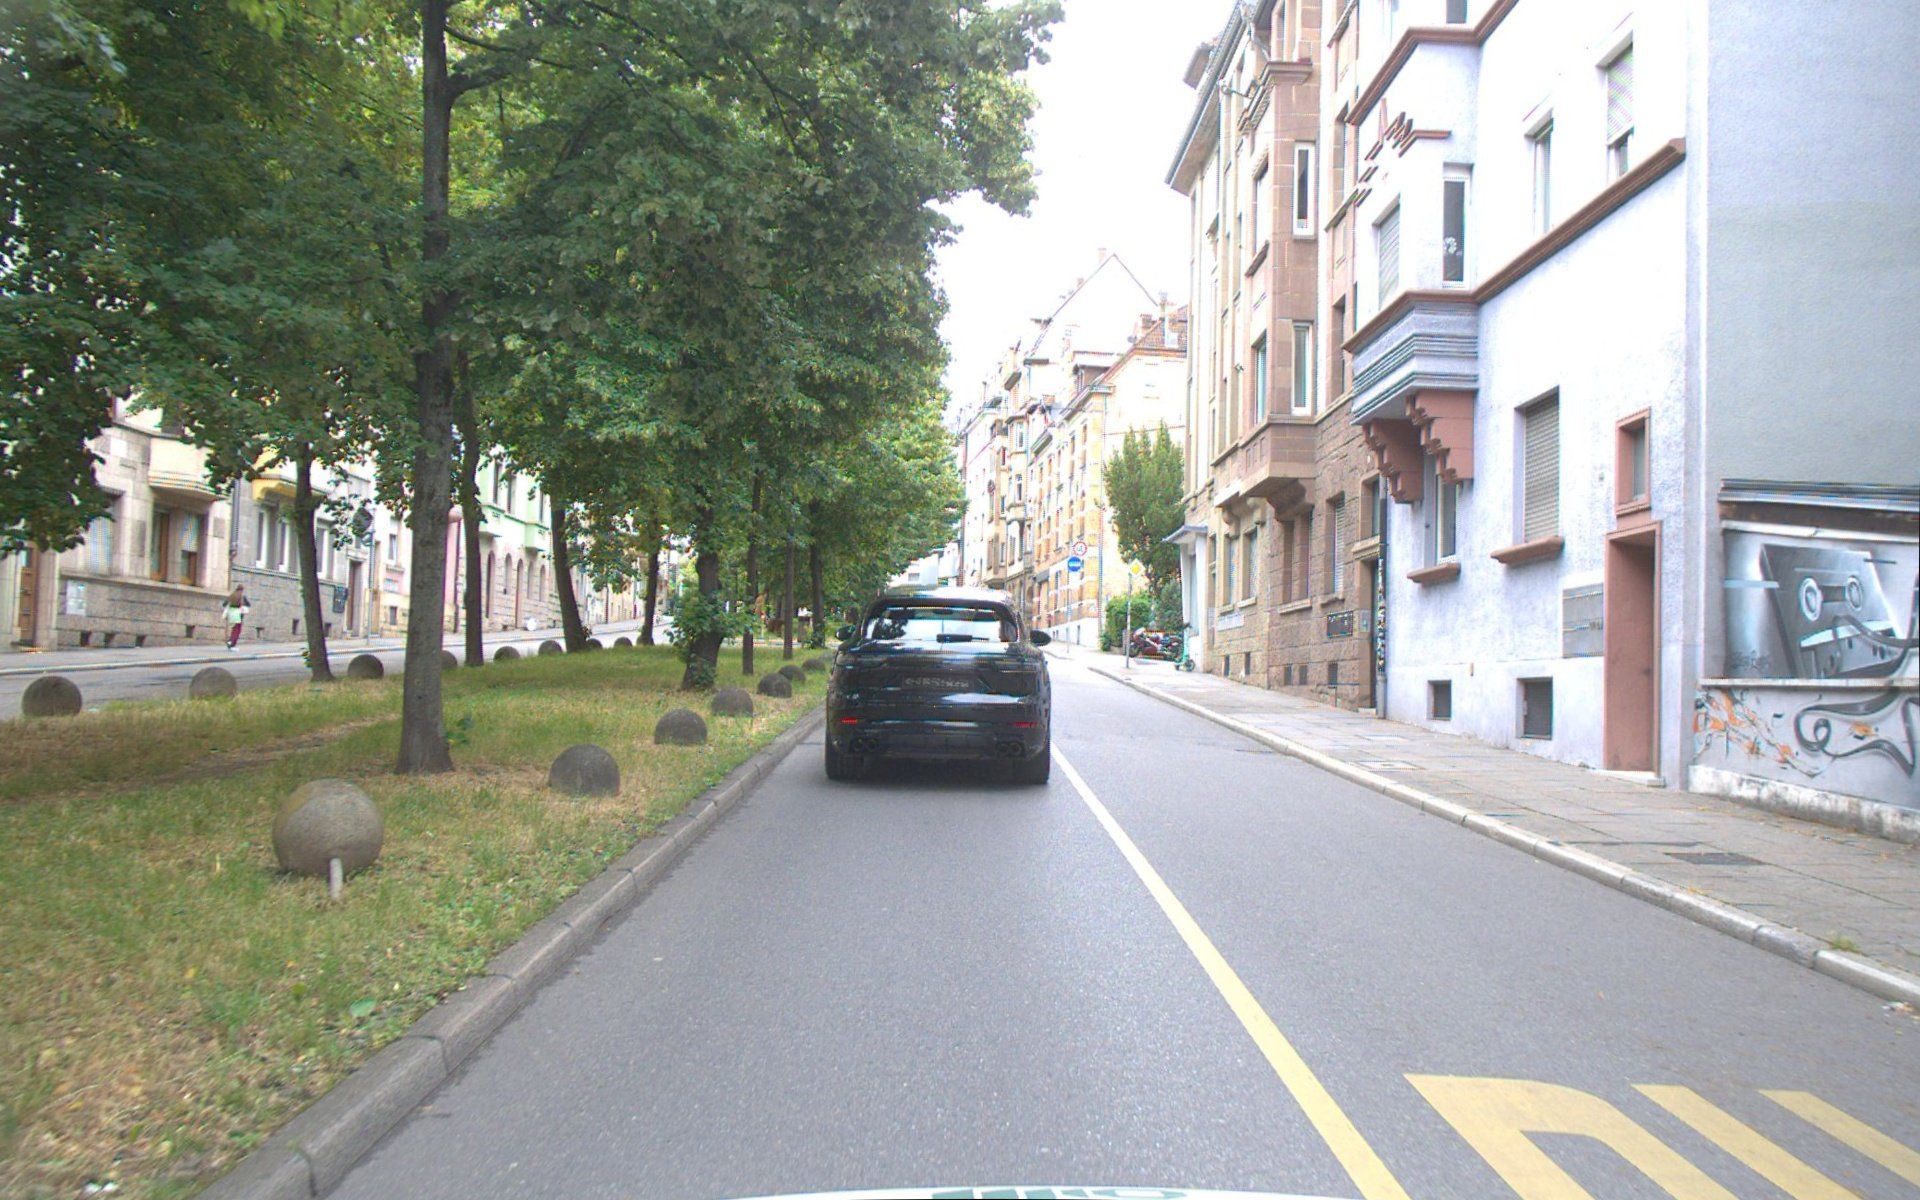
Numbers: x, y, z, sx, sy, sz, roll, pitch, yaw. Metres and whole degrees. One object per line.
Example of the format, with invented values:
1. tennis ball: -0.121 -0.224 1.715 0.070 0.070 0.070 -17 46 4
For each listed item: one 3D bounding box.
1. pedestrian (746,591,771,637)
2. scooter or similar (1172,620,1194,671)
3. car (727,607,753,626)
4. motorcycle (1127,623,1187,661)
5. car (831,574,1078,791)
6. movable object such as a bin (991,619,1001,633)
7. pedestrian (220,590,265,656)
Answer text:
1. pedestrian: -7.948 0.577 65.165 0.816 1.742 1.122 -2 -3 -1
2. scooter or similar: 5.794 1.173 42.977 0.401 1.231 1.145 -1 2 -1
3. car: -17.161 1.258 128.898 1.674 1.406 4.665 0 0 -3
4. motorcycle: 7.300 1.542 61.340 2.015 1.290 1.009 3 -1 -5
5. car: -0.129 0.672 15.307 1.954 1.695 3.998 2 0 -3
6. movable object such as a bin: 2.451 1.788 112.200 0.583 0.920 0.562 2 -2 -6
7. pedestrian: -16.539 0.523 38.140 0.684 1.486 0.704 2 0 0
